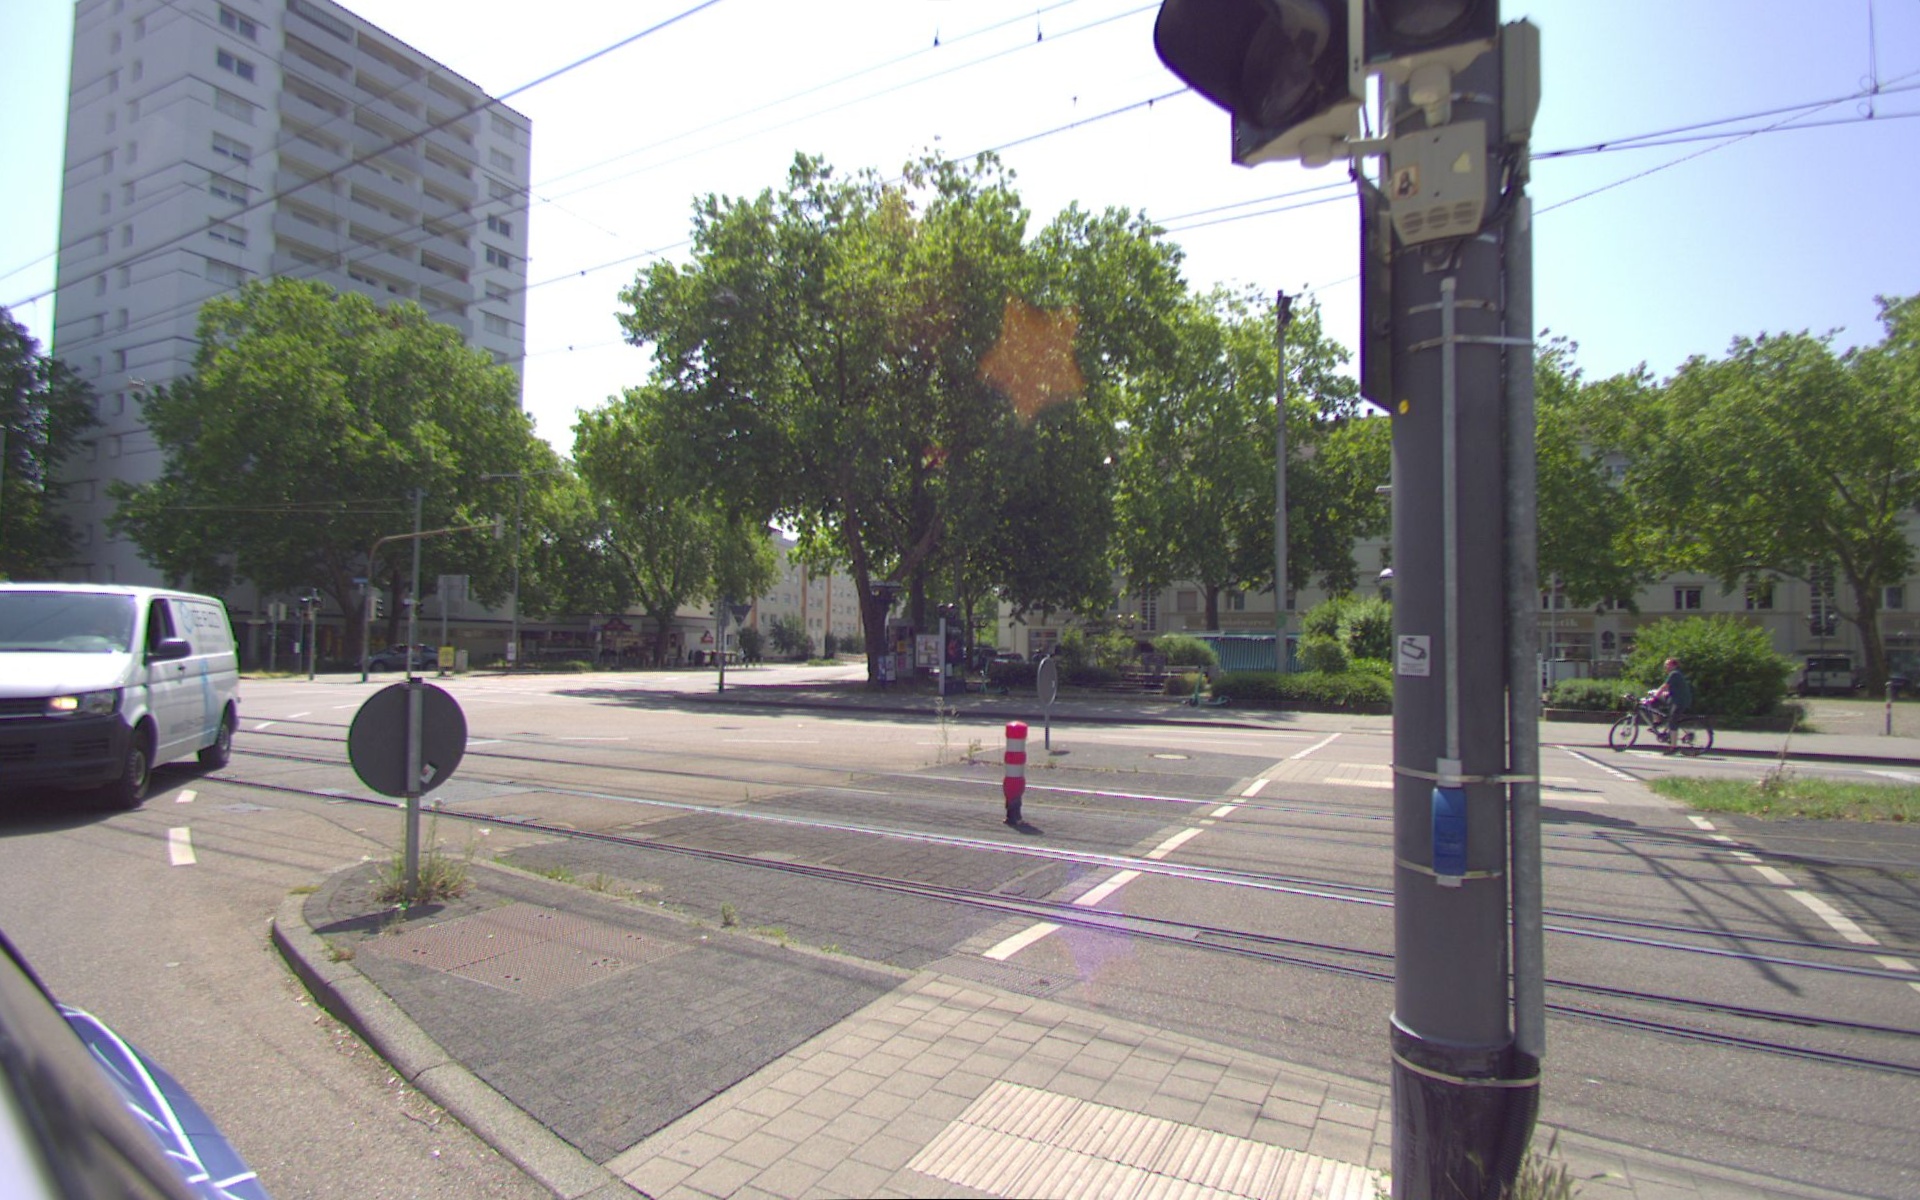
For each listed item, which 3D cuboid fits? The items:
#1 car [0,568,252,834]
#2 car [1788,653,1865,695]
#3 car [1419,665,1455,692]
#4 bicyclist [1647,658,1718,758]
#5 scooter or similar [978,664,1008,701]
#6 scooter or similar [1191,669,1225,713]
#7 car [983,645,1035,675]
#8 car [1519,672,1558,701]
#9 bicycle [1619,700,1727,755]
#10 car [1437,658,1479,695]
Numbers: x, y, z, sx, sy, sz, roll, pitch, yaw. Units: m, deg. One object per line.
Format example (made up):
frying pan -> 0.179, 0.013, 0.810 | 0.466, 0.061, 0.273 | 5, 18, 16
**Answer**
car -> -8.430, 0.840, 9.658 | 1.821, 1.968, 4.959 | 2, -3, -25
car -> 43.124, 3.647, 50.445 | 2.157, 1.964, 3.959 | -1, -3, 30
car -> 21.337, 3.511, 45.335 | 1.349, 1.106, 2.716 | -1, -3, 24
bicyclist -> 12.795, 1.887, 17.948 | 0.863, 1.698, 0.635 | -1, -3, 24
scooter or similar -> 1.050, 2.622, 32.309 | 0.976, 1.129, 0.254 | -2, -3, 40
scooter or similar -> 6.647, 2.427, 27.112 | 0.859, 1.129, 0.254 | -2, -3, 40
car -> 3.482, 4.215, 71.145 | 1.993, 2.029, 3.957 | -1, -3, 31
car -> 32.117, 4.796, 56.255 | 1.613, 1.420, 3.217 | -1, -3, 26
bicycle -> 12.659, 2.253, 18.013 | 1.474, 0.889, 0.493 | -1, -3, 25
car -> 20.094, 3.057, 40.881 | 1.465, 1.394, 3.315 | -1, -3, 26
